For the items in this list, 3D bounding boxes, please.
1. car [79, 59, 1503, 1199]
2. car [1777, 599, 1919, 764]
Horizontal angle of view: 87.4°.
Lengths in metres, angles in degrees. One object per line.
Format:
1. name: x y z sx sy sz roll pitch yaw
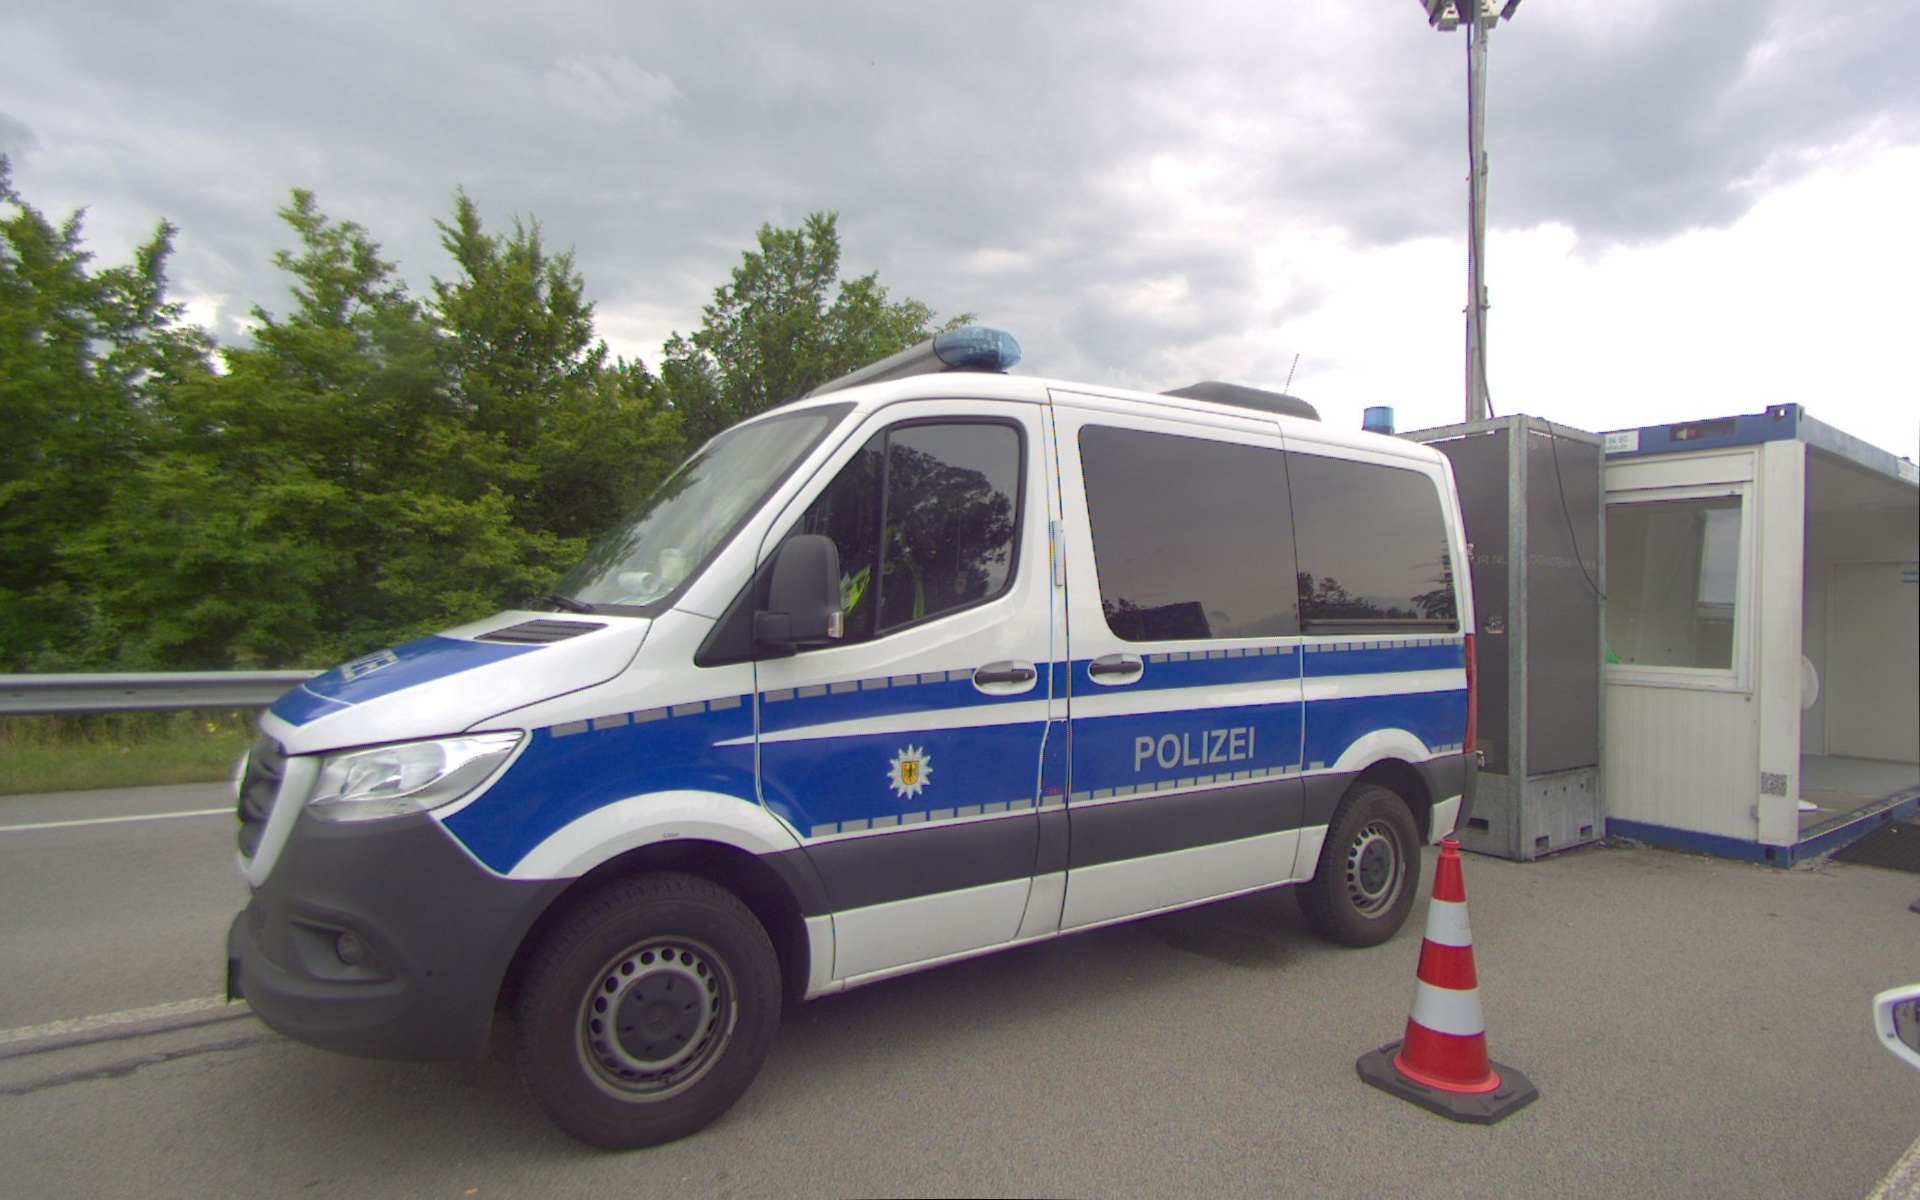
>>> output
1. car: -0.092 0.233 4.283 5.224 2.496 2.017 1 0 -34
2. car: 11.788 0.922 12.177 3.967 1.767 1.857 1 0 -34
